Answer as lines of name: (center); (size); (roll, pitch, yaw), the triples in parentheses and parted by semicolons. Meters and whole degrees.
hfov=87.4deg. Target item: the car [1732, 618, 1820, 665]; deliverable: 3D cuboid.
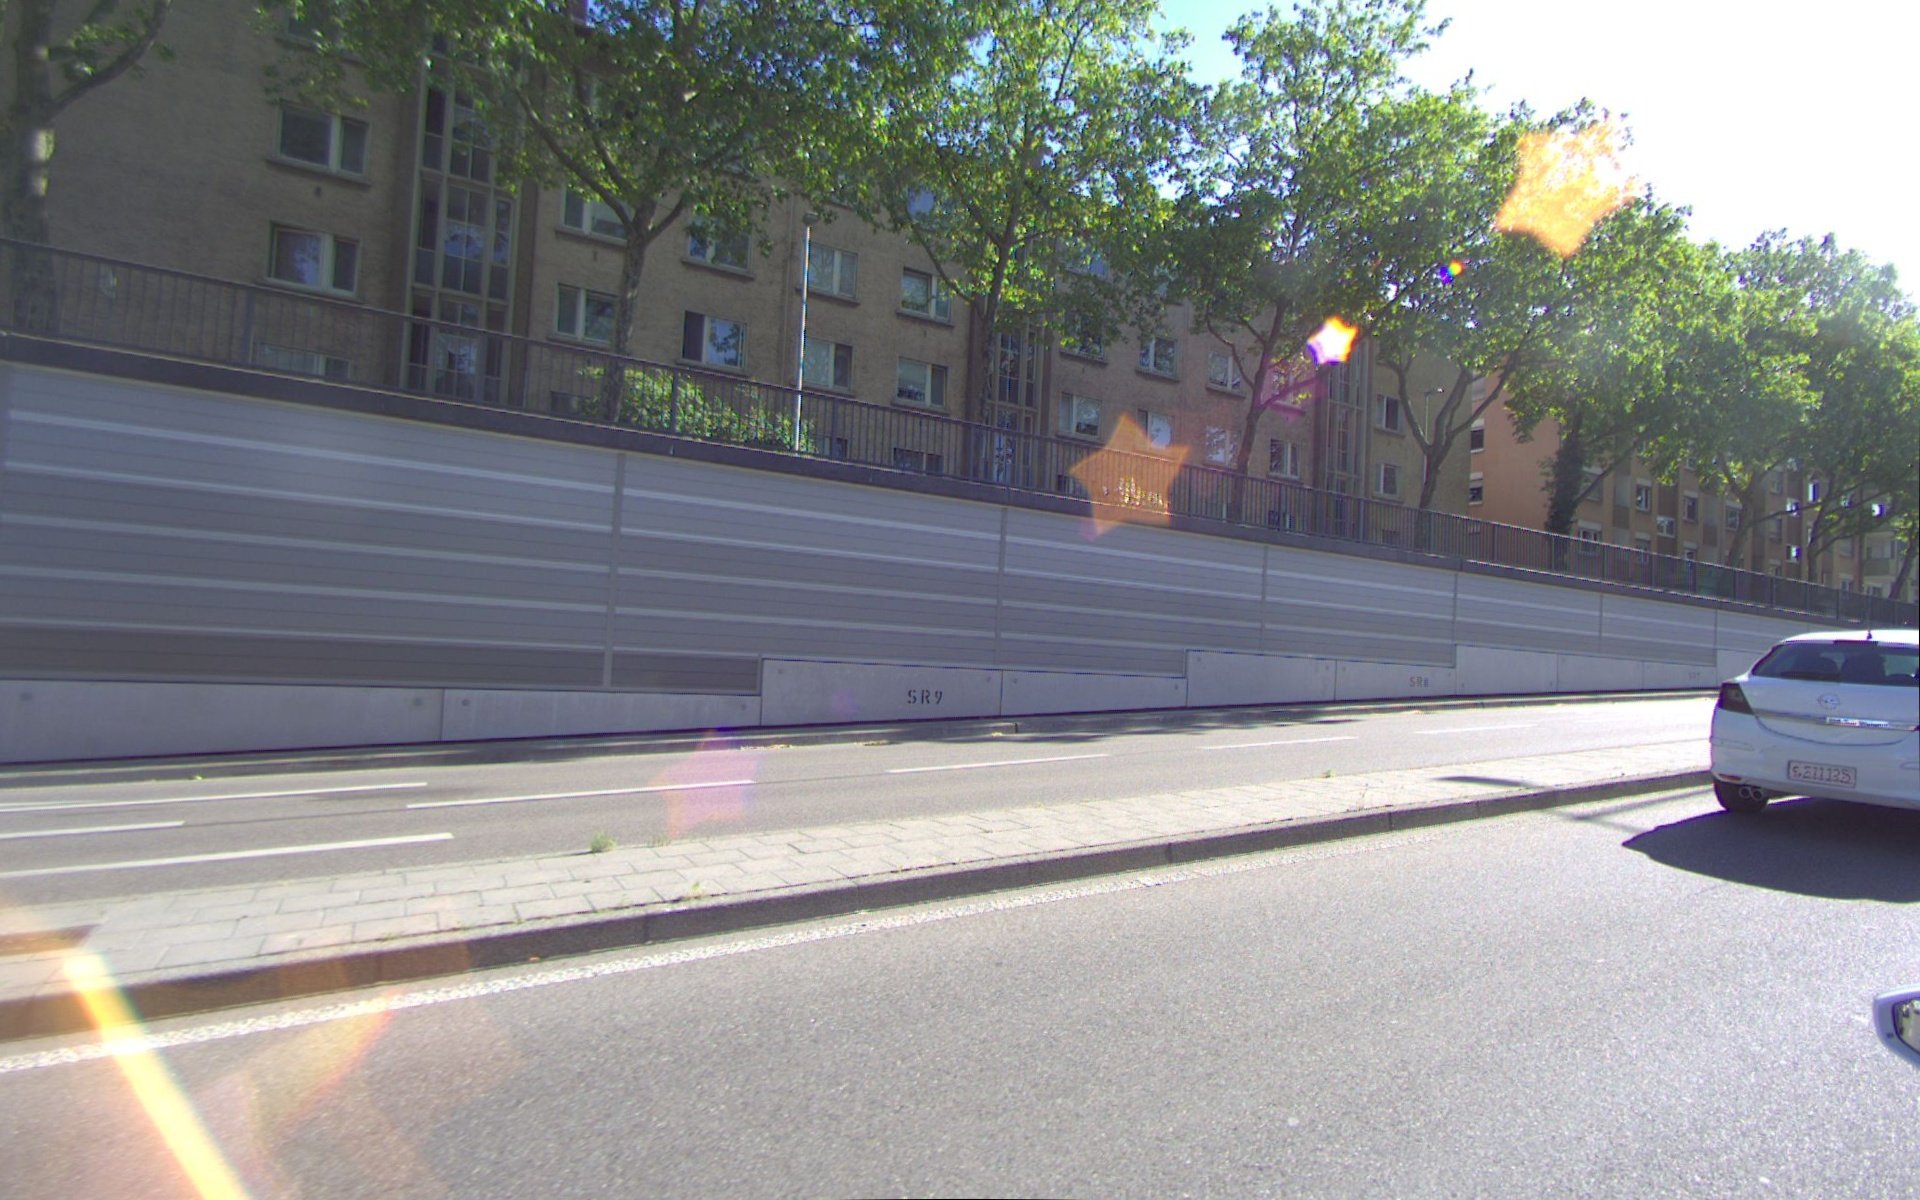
car: (39.176, 2.003, 48.209); (4.479, 1.986, 1.955); (4, -2, -32)

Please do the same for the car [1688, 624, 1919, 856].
car: (7.420, 0.965, 7.687); (3.807, 1.422, 1.611); (3, -1, -31)
